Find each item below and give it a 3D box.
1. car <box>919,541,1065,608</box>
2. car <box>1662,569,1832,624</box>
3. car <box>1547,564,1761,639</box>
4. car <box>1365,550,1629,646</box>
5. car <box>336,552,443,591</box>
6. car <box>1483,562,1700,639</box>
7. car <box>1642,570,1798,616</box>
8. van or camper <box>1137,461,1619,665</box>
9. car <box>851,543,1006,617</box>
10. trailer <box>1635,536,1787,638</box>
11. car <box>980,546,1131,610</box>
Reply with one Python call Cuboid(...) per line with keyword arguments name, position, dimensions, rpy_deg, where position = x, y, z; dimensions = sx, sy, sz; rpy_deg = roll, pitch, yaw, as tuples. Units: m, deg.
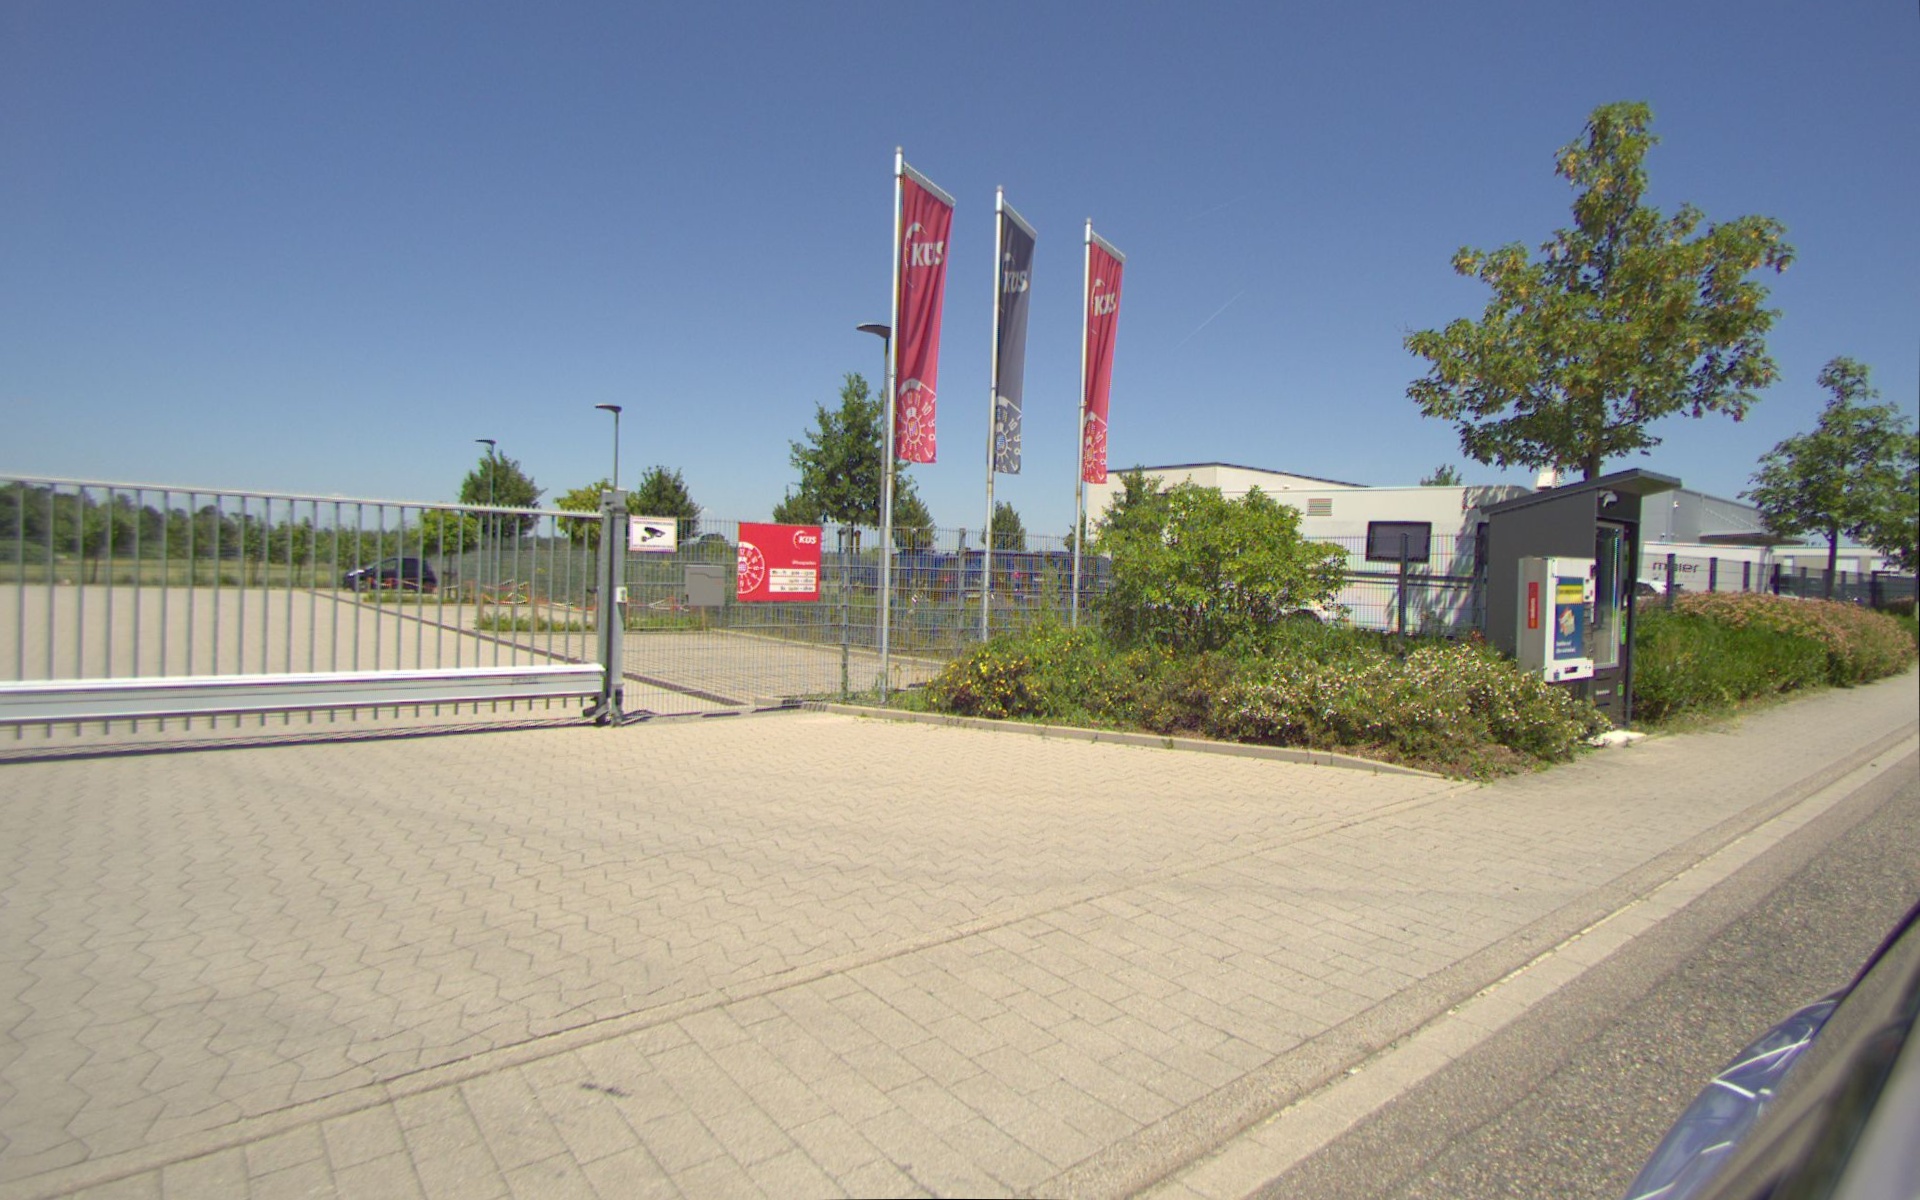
Cuboid(name="car", position=(0.757, -0.698, 26.228), dimensions=(1.649, 1.561, 3.830), rpy_deg=(0, 3, -40))
Cuboid(name="car", position=(25.168, -0.158, 32.469), dimensions=(1.790, 1.540, 3.996), rpy_deg=(0, 3, -40))
Cuboid(name="car", position=(16.732, -0.027, 24.556), dimensions=(1.774, 1.493, 3.901), rpy_deg=(0, 4, -40))
Cuboid(name="car", position=(10.358, -0.124, 19.762), dimensions=(1.776, 1.555, 4.147), rpy_deg=(0, 4, -40))
Cuboid(name="car", position=(-23.269, -1.130, 41.320), dimensions=(3.542, 1.475, 1.764), rpy_deg=(0, 0, -41))
Cuboid(name="car", position=(14.377, -0.046, 23.182), dimensions=(1.776, 1.457, 3.846), rpy_deg=(0, 4, -43))
Cuboid(name="car", position=(28.032, -0.307, 37.434), dimensions=(1.724, 1.462, 4.289), rpy_deg=(0, 3, -40))
Cuboid(name="van or camper", position=(6.372, -0.632, 16.443), dimensions=(2.589, 2.616, 6.773), rpy_deg=(0, 3, -40))
Cuboid(name="car", position=(-0.827, -0.535, 24.437), dimensions=(1.719, 1.595, 3.830), rpy_deg=(0, 3, -40))
Cuboid(name="trailer", position=(19.231, -0.387, 25.967), dimensions=(1.396, 2.432, 2.826), rpy_deg=(0, 3, -43))
Cuboid(name="car", position=(2.548, -0.637, 27.753), dimensions=(1.717, 1.567, 4.051), rpy_deg=(0, 3, -40))
